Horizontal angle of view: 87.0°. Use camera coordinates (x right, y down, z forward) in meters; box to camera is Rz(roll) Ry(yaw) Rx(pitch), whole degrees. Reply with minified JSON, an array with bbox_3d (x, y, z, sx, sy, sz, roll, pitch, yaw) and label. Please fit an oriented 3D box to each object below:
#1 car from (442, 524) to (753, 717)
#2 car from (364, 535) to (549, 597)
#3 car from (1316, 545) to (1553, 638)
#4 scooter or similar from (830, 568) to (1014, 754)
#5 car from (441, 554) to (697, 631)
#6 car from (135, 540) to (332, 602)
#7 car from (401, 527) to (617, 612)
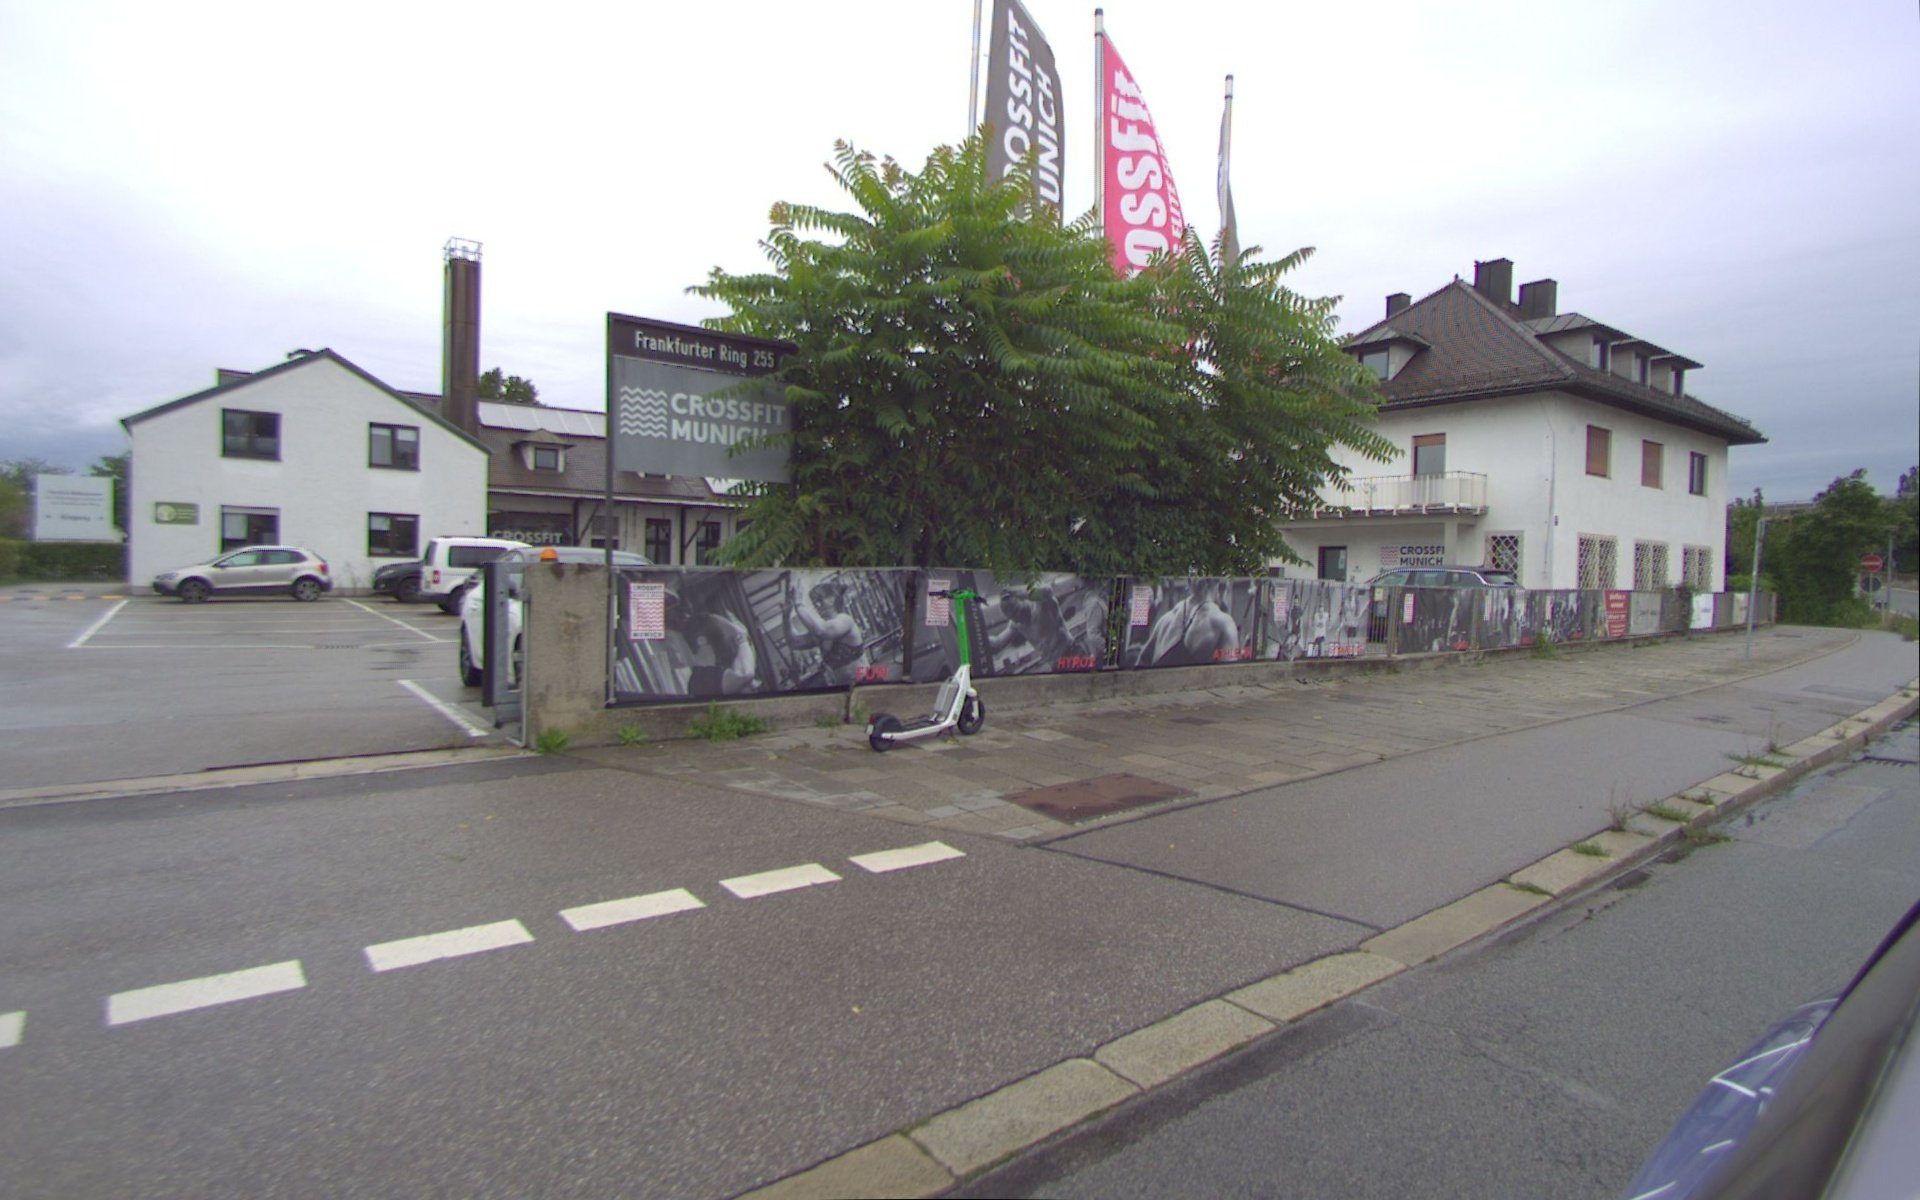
[{"bbox_3d":[-3.710,0.092,9.894,1.760,1.478,4.026,0,2,-37],"label":"car"},{"bbox_3d":[-14.719,-0.981,29.715,4.601,1.688,1.926,-1,2,-37],"label":"car"},{"bbox_3d":[9.869,-0.220,21.300,1.892,1.747,4.106,0,2,-39],"label":"car"},{"bbox_3d":[-0.246,0.395,7.638,0.396,1.237,1.617,4,5,39],"label":"scooter or similar"},{"bbox_3d":[-7.876,-0.175,20.582,4.534,1.404,1.926,-1,2,-37],"label":"car"},{"bbox_3d":[-19.253,-0.773,26.918,4.148,1.513,1.925,-1,2,-40],"label":"car"},{"bbox_3d":[-11.171,-0.744,25.214,4.601,1.926,1.926,-1,2,-37],"label":"car"}]
